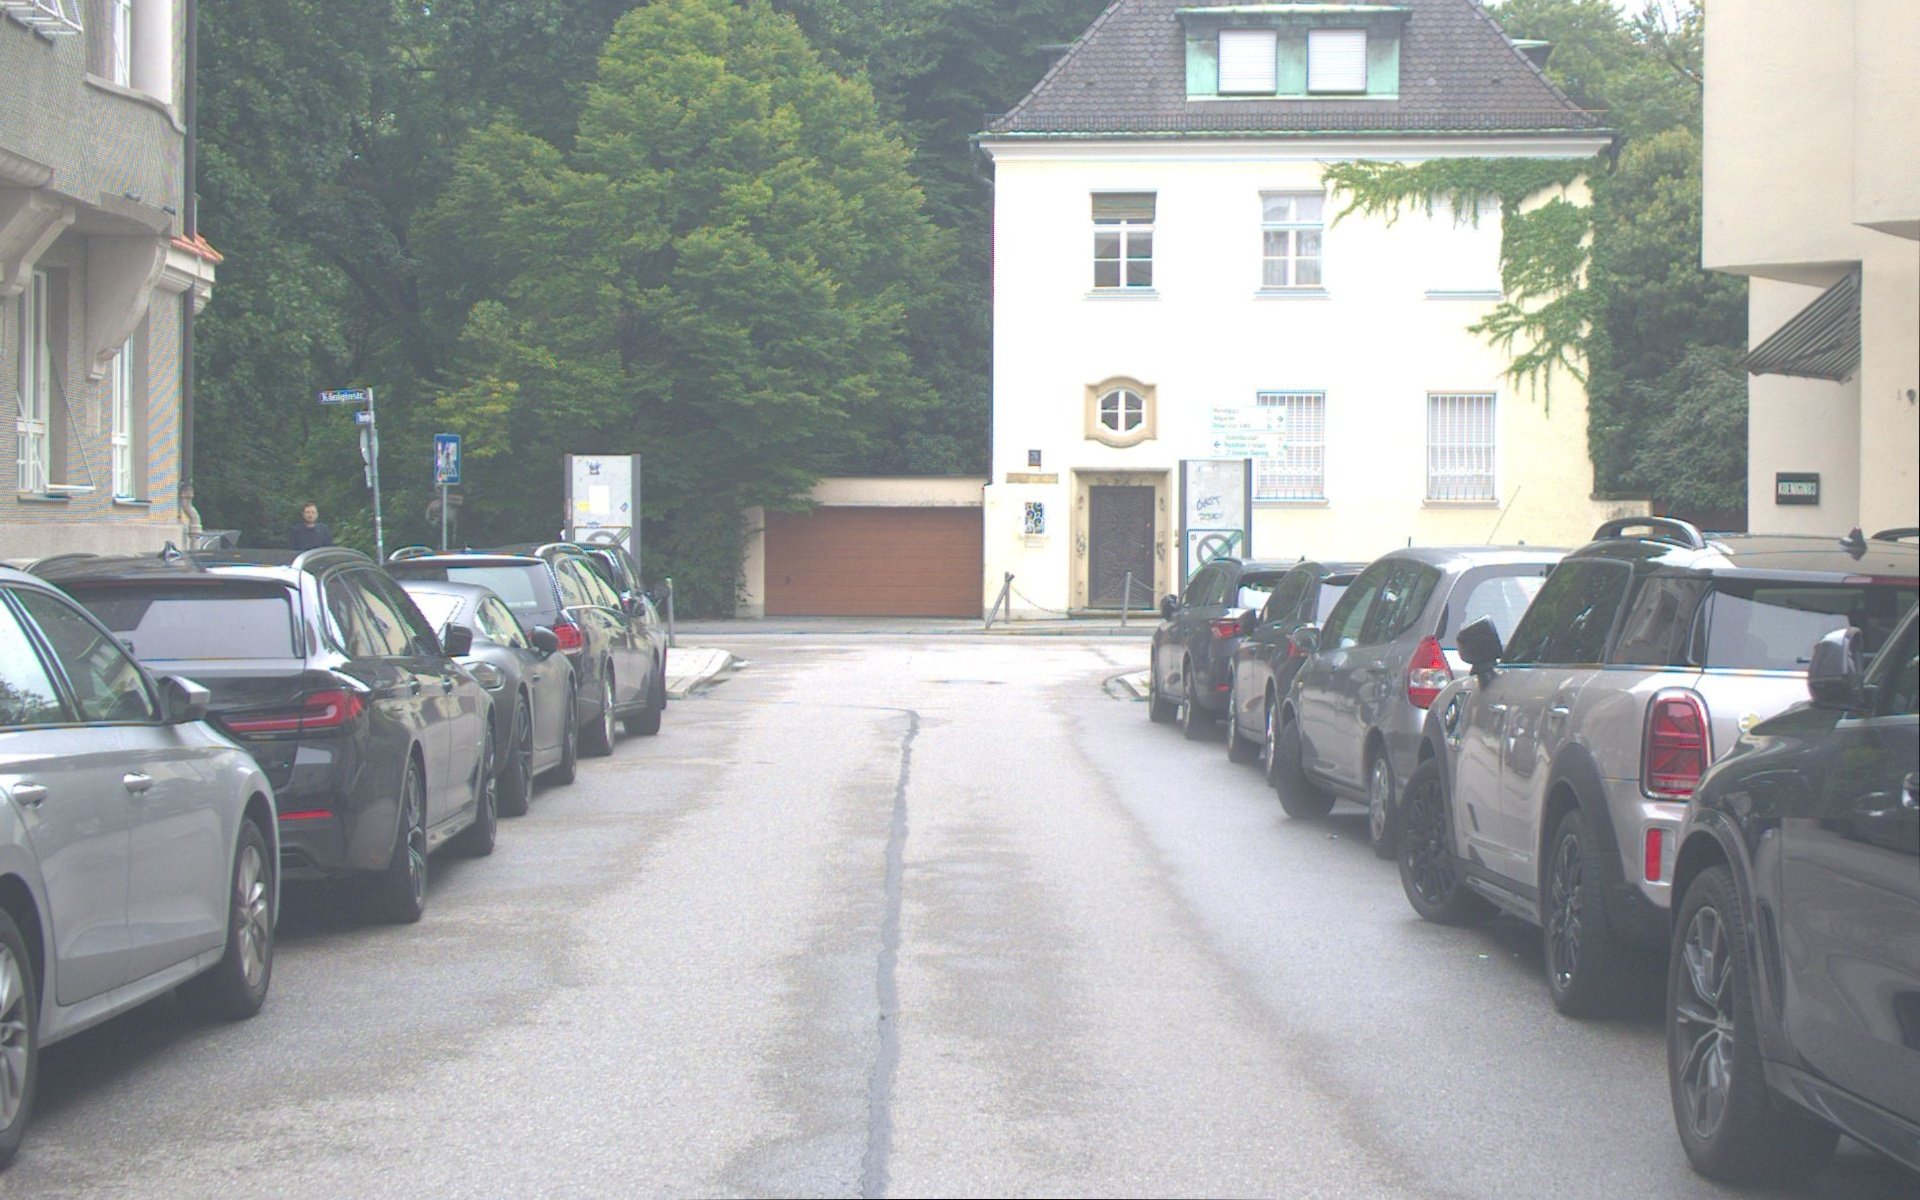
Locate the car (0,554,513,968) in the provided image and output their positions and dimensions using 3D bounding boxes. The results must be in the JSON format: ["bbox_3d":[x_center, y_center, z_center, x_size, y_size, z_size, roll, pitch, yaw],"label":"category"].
[{"bbox_3d":[-3.130,0.544,14.659,1.993,1.443,4.779,0,1,-2],"label":"car"}]

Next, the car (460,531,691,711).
[{"bbox_3d":[-3.355,0.146,30.446,1.704,1.510,2.911,0,1,0],"label":"car"}]

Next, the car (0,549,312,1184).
[{"bbox_3d":[-3.099,0.613,9.193,1.805,1.426,4.439,-1,1,1],"label":"car"}]

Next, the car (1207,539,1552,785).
[{"bbox_3d":[2.688,0.345,22.825,1.634,1.466,3.856,1,1,-3],"label":"car"}]

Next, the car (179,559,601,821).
[{"bbox_3d":[-3.188,0.444,19.985,1.755,1.326,4.097,0,1,0],"label":"car"}]

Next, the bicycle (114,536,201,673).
[{"bbox_3d":[-8.172,0.030,35.046,0.618,1.345,1.675,1,1,-5],"label":"bicycle"}]

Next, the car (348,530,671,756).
[{"bbox_3d":[-3.232,0.243,25.483,1.755,1.510,4.708,0,1,0],"label":"car"}]

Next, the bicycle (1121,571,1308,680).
[{"bbox_3d":[2.639,0.261,35.646,1.794,1.082,0.665,0,3,27],"label":"bicycle"}]

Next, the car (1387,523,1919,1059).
[{"bbox_3d":[2.642,0.534,12.227,1.634,1.586,3.969,1,1,-2],"label":"car"}]

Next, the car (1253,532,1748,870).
[{"bbox_3d":[2.646,0.427,17.680,1.633,1.531,3.856,1,1,-5],"label":"car"}]

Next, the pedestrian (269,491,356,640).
[{"bbox_3d":[-7.848,-0.421,41.692,0.839,1.781,0.936,1,1,2],"label":"pedestrian"}]

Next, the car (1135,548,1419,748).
[{"bbox_3d":[2.511,0.330,28.256,1.692,1.466,4.612,1,1,-3],"label":"car"}]

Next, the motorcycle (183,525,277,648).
[{"bbox_3d":[-8.811,-0.178,41.574,0.736,1.436,2.147,1,1,-2],"label":"motorcycle"}]

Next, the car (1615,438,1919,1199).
[{"bbox_3d":[2.730,0.570,6.421,1.993,1.683,4.674,2,1,-1],"label":"car"}]
